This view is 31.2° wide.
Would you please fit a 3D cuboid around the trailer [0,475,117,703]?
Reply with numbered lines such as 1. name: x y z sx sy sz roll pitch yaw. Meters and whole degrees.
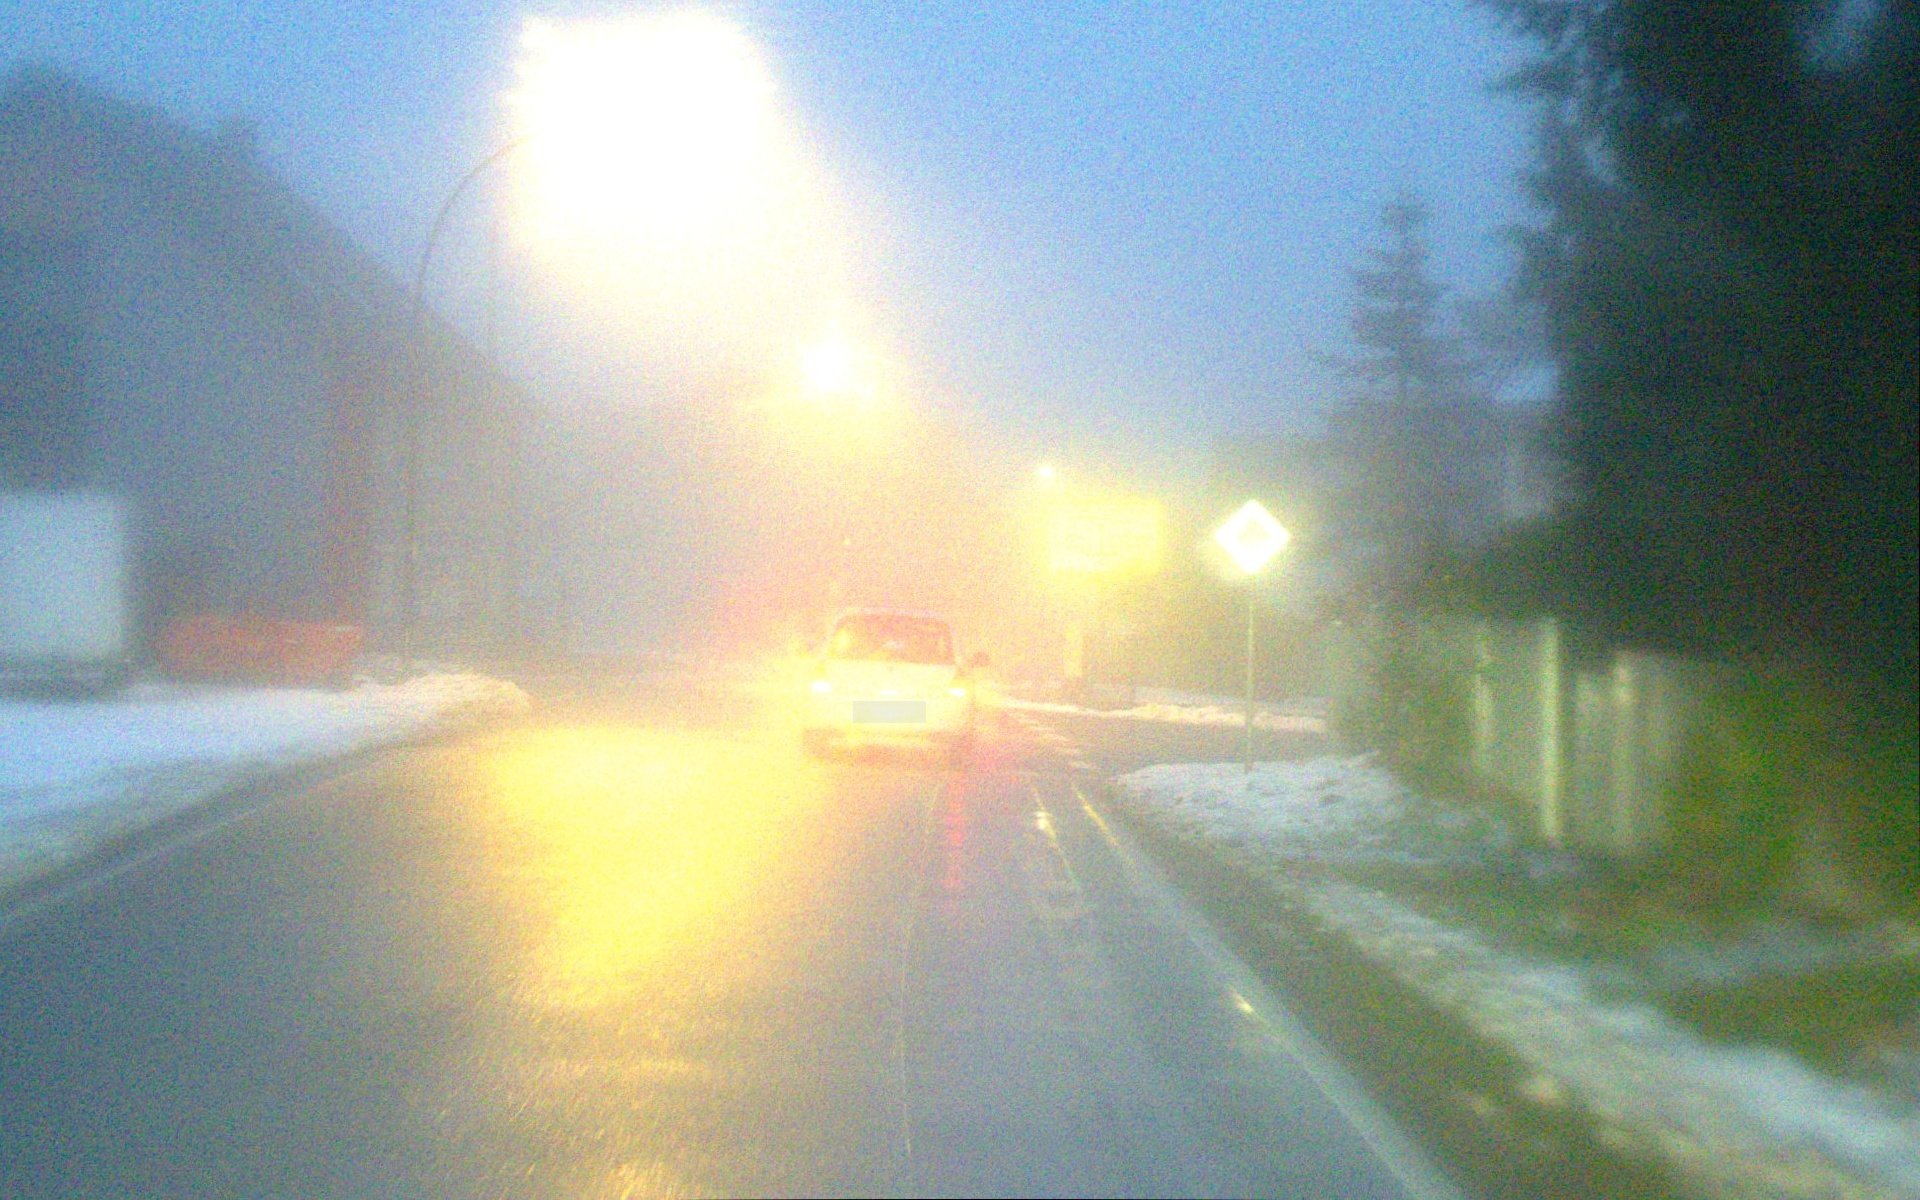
1. trailer: -11.151 -0.141 41.003 1.689 2.596 3.446 -1 1 -21

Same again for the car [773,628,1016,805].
1. car: -0.568 1.079 33.224 1.994 1.503 4.000 -1 1 4
